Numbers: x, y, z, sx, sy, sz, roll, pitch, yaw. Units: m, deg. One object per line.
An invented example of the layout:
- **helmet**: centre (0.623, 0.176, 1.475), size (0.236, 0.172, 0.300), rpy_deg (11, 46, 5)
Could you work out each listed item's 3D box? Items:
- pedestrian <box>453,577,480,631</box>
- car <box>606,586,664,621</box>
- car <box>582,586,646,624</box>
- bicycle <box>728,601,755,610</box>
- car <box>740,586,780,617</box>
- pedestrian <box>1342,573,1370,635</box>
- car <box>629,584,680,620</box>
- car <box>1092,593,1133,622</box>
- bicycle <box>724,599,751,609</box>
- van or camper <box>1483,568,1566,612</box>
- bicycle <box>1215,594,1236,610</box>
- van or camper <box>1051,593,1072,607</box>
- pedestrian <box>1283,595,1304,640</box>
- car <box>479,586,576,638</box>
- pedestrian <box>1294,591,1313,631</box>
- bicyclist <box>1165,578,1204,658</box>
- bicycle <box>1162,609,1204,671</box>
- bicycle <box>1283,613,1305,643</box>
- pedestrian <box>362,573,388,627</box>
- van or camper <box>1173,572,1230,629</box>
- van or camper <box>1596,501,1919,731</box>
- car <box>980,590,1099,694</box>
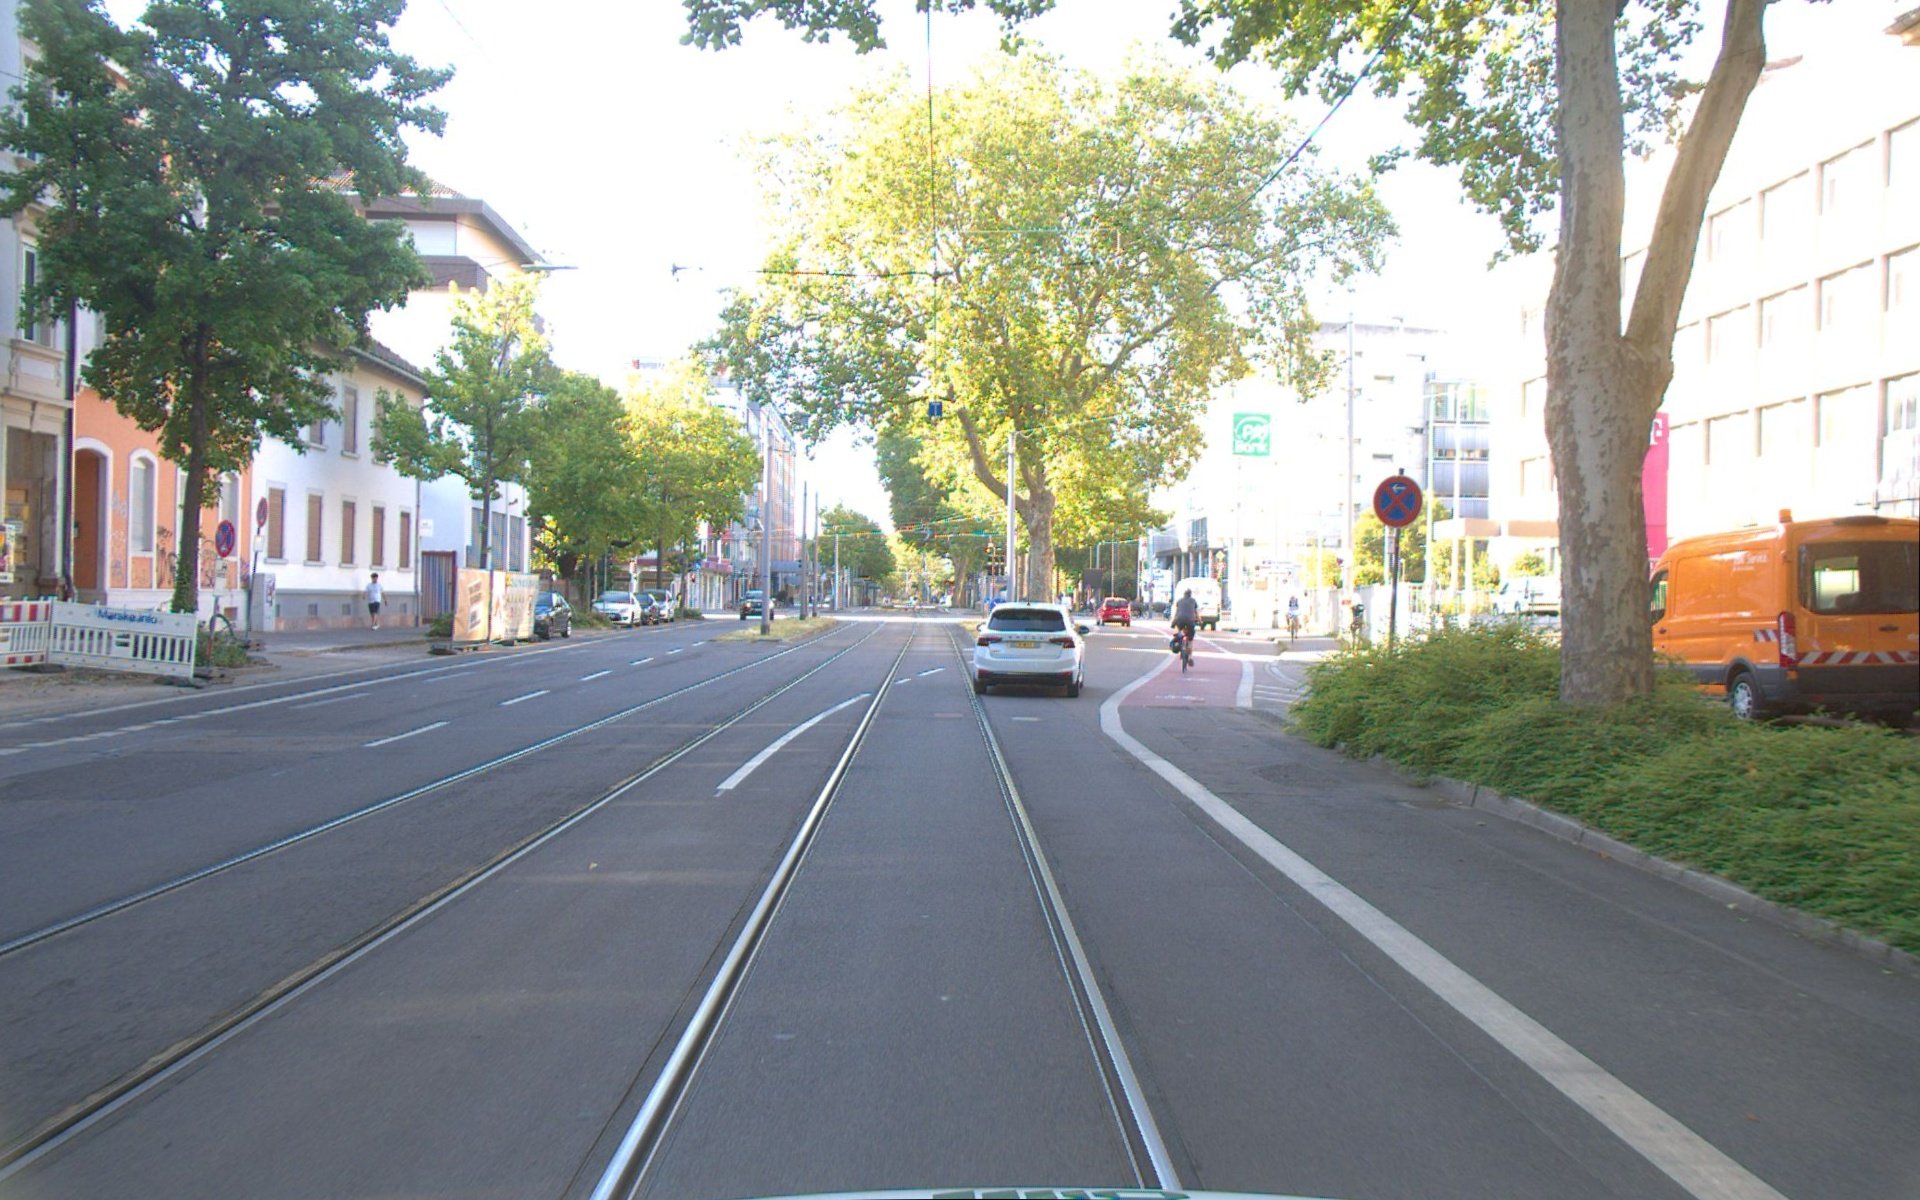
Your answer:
- **pedestrian**: centre (-15.543, 0.125, 52.096), size (0.622, 1.649, 0.731), rpy_deg (2, 0, -4)
- **car**: centre (-14.698, 0.143, 74.974), size (1.954, 1.502, 4.647), rpy_deg (0, 0, -3)
- **car**: centre (-14.398, 0.193, 69.062), size (1.954, 1.496, 4.402), rpy_deg (0, 0, -3)
- **bicycle**: centre (-17.853, 0.451, 135.329), size (2.127, 0.801, 0.491), rpy_deg (0, 0, -5)
- **car**: centre (-11.246, 0.061, 93.146), size (1.954, 1.719, 4.307), rpy_deg (0, 0, -3)
- **pedestrian**: centre (10.986, 0.108, 45.855), size (0.681, 1.713, 0.931), rpy_deg (0, 0, 18)
- **car**: centre (-15.087, 0.089, 81.849), size (1.954, 1.719, 4.175), rpy_deg (0, 0, -3)
- **car**: centre (8.211, 0.404, 89.386), size (1.802, 1.515, 3.716), rpy_deg (0, 0, -1)
- **bicycle**: centre (-18.086, 0.355, 134.562), size (2.127, 0.801, 0.640), rpy_deg (0, 0, -5)
- **van or camper**: centre (25.936, -0.464, 76.167), size (1.940, 1.942, 4.998), rpy_deg (0, 0, -2)
- **bicycle**: centre (25.192, 0.214, 156.973), size (1.896, 1.468, 0.575), rpy_deg (1, 0, -3)
- **van or camper**: centre (13.197, 0.032, 214.999), size (2.103, 1.781, 4.428), rpy_deg (0, 0, -4)
- **pedestrian**: centre (12.396, 0.638, 61.472), size (0.655, 1.647, 1.103), rpy_deg (-2, 0, 8)
- **car**: centre (-13.496, 0.338, 51.874), size (1.953, 1.540, 4.723), rpy_deg (0, 0, -3)
- **pedestrian**: centre (15.386, 0.498, 74.027), size (0.769, 1.779, 0.772), rpy_deg (0, 0, 7)
- **bicyclist**: centre (4.897, 0.388, 36.066), size (0.727, 1.698, 0.745), rpy_deg (2, 0, 11)
- **bicycle**: centre (4.869, 0.851, 36.037), size (0.728, 1.245, 2.158), rpy_deg (2, 1, 11)
- **bicycle**: centre (12.391, 1.036, 61.376), size (0.660, 1.050, 1.902), rpy_deg (-2, 0, 9)
- **pedestrian**: centre (-17.538, -0.003, 49.591), size (0.582, 1.598, 0.639), rpy_deg (1, 0, -4)
- **van or camper**: centre (12.693, 0.030, 87.176), size (2.222, 2.781, 6.349), rpy_deg (3, 0, 3)
- **van or camper**: centre (10.465, 0.171, 21.728), size (1.994, 2.604, 5.773), rpy_deg (0, 0, 0)
- **car**: centre (1.267, 0.636, 27.102), size (1.764, 1.527, 3.982), rpy_deg (2, 0, 2)
